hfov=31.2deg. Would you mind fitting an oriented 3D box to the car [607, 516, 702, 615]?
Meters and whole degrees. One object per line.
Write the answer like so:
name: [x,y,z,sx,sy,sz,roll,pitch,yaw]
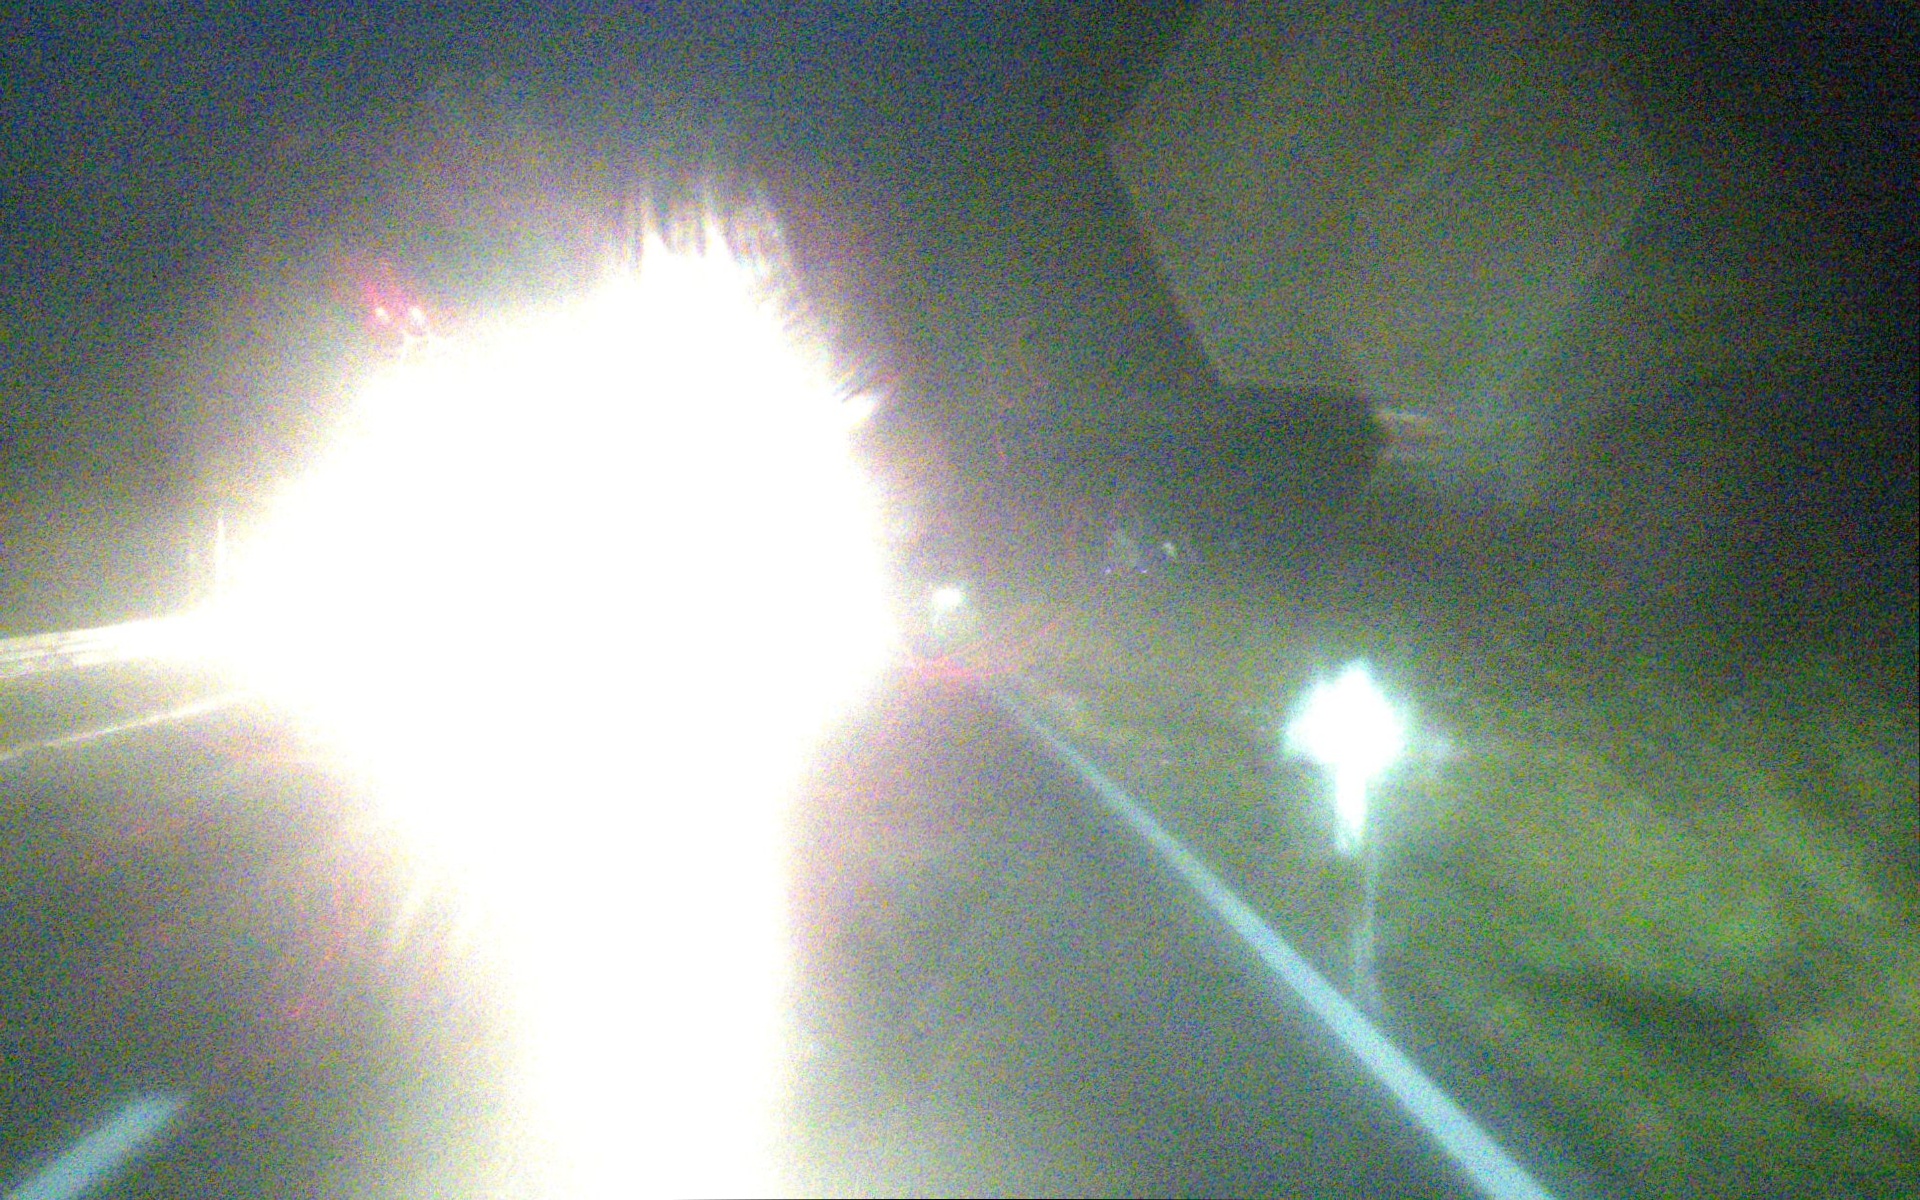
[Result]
car: [-7.222,-0.857,81.633,1.993,2.265,5.468,1,1,-3]
